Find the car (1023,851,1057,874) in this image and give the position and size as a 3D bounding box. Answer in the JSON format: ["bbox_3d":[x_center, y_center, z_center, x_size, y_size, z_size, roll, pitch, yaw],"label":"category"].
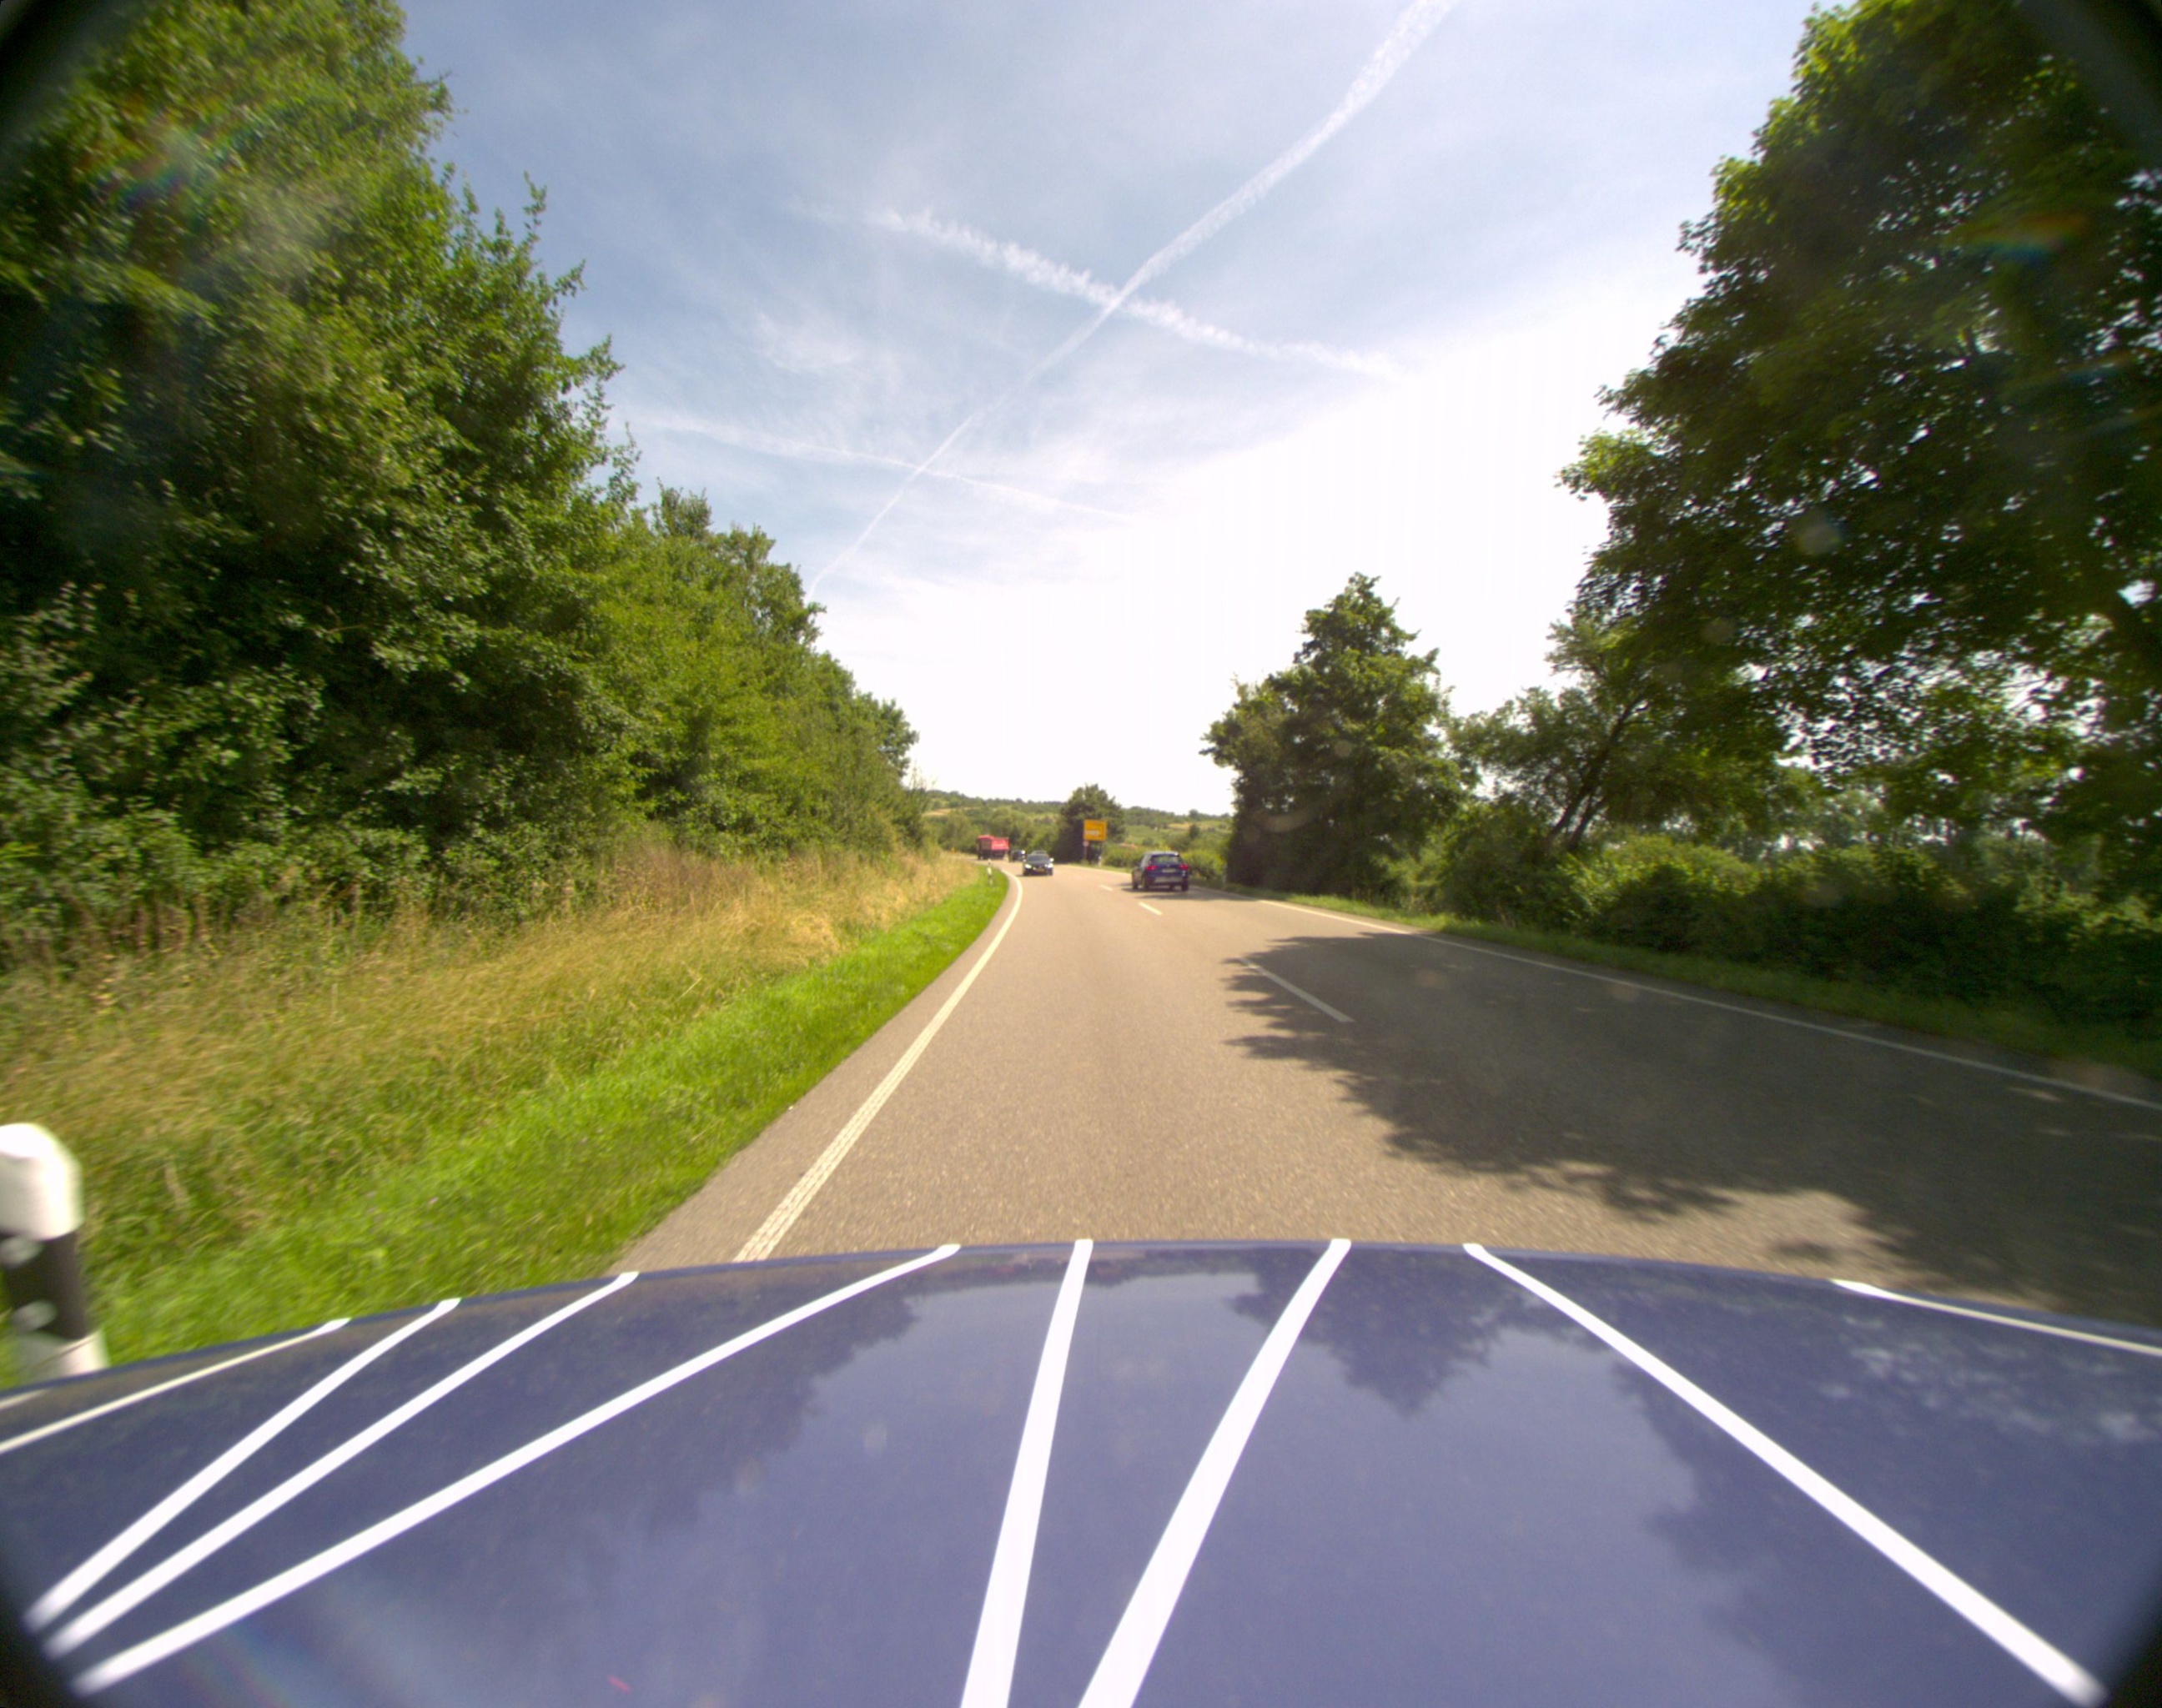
[{"bbox_3d":[-2.783,0.538,50.704,1.786,1.440,4.601,-1,0,-8],"label":"car"}]

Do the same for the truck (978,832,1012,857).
[{"bbox_3d":[-12.706,-1.383,111.632,2.562,3.432,12.614,-1,0,-17],"label":"truck"}]

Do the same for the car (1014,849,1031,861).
[{"bbox_3d":[-7.240,0.088,93.783,1.435,1.462,3.267,-1,1,-16],"label":"car"}]

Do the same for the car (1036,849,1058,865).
[{"bbox_3d":[-3.493,0.296,77.312,1.715,1.462,4.371,-1,1,-9],"label":"car"}]

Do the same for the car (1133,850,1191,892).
[{"bbox_3d":[3.085,0.600,29.700,1.674,1.522,3.956,0,1,-3],"label":"car"}]
